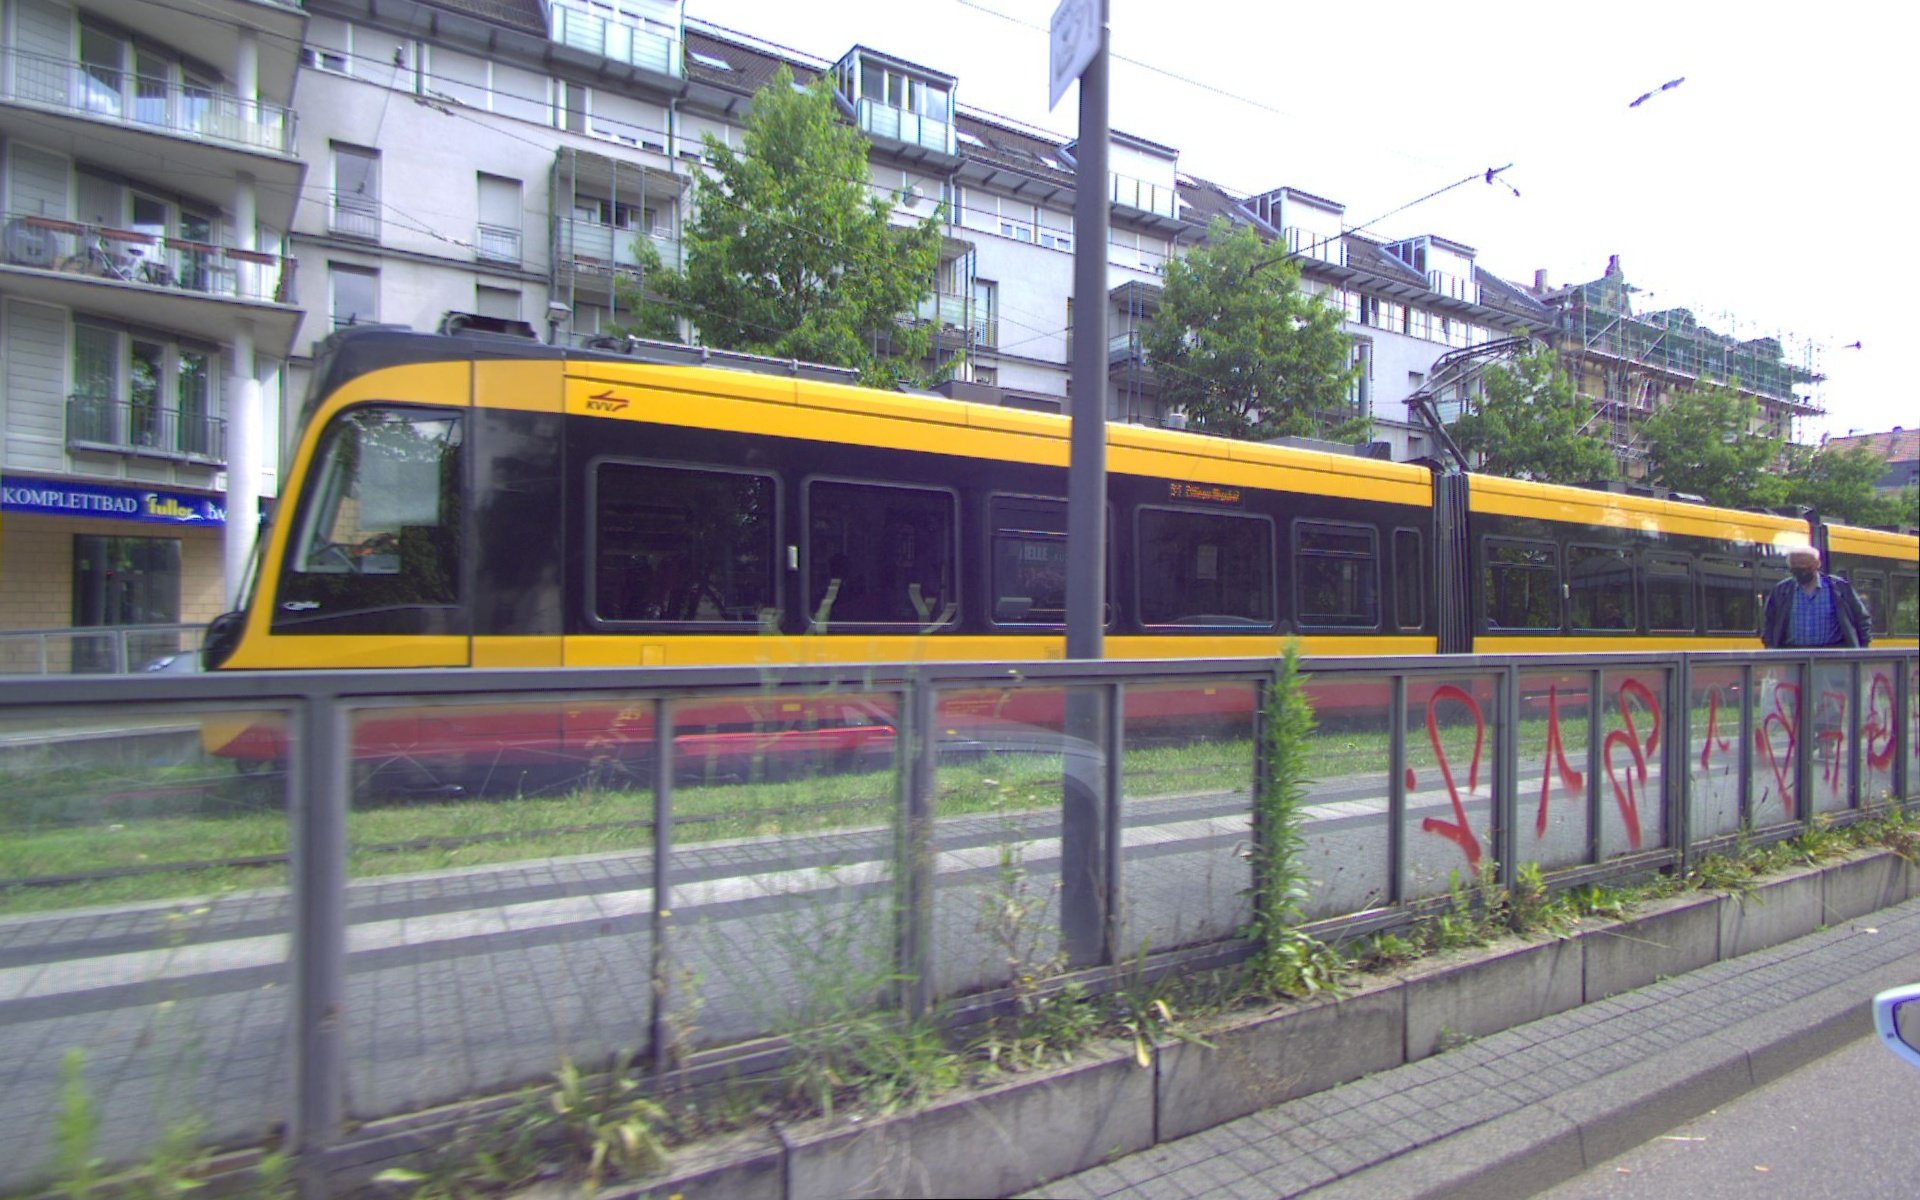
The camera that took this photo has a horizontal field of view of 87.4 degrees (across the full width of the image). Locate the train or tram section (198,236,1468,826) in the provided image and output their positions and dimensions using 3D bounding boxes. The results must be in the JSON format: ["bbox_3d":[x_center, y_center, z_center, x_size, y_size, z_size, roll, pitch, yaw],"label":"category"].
[{"bbox_3d":[0.195,-0.297,10.671,12.864,3.632,2.793,1,-1,-31],"label":"train or tram section"}]

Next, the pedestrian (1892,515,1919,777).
[{"bbox_3d":[7.542,0.348,7.368,0.836,1.924,0.823,1,-1,-30],"label":"pedestrian"}]

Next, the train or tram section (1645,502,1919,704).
[{"bbox_3d":[20.132,0.187,22.506,12.864,3.632,2.710,1,-1,-31],"label":"train or tram section"}]

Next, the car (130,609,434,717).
[{"bbox_3d":[-10.023,0.891,15.154,3.602,1.458,1.625,1,-1,-31],"label":"car"}]

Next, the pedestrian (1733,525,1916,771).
[{"bbox_3d":[6.823,0.361,7.940,0.866,1.798,0.853,1,-1,-30],"label":"pedestrian"}]

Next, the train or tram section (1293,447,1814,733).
[{"bbox_3d":[10.168,-0.021,16.588,10.282,3.632,2.782,1,-1,-31],"label":"train or tram section"}]
